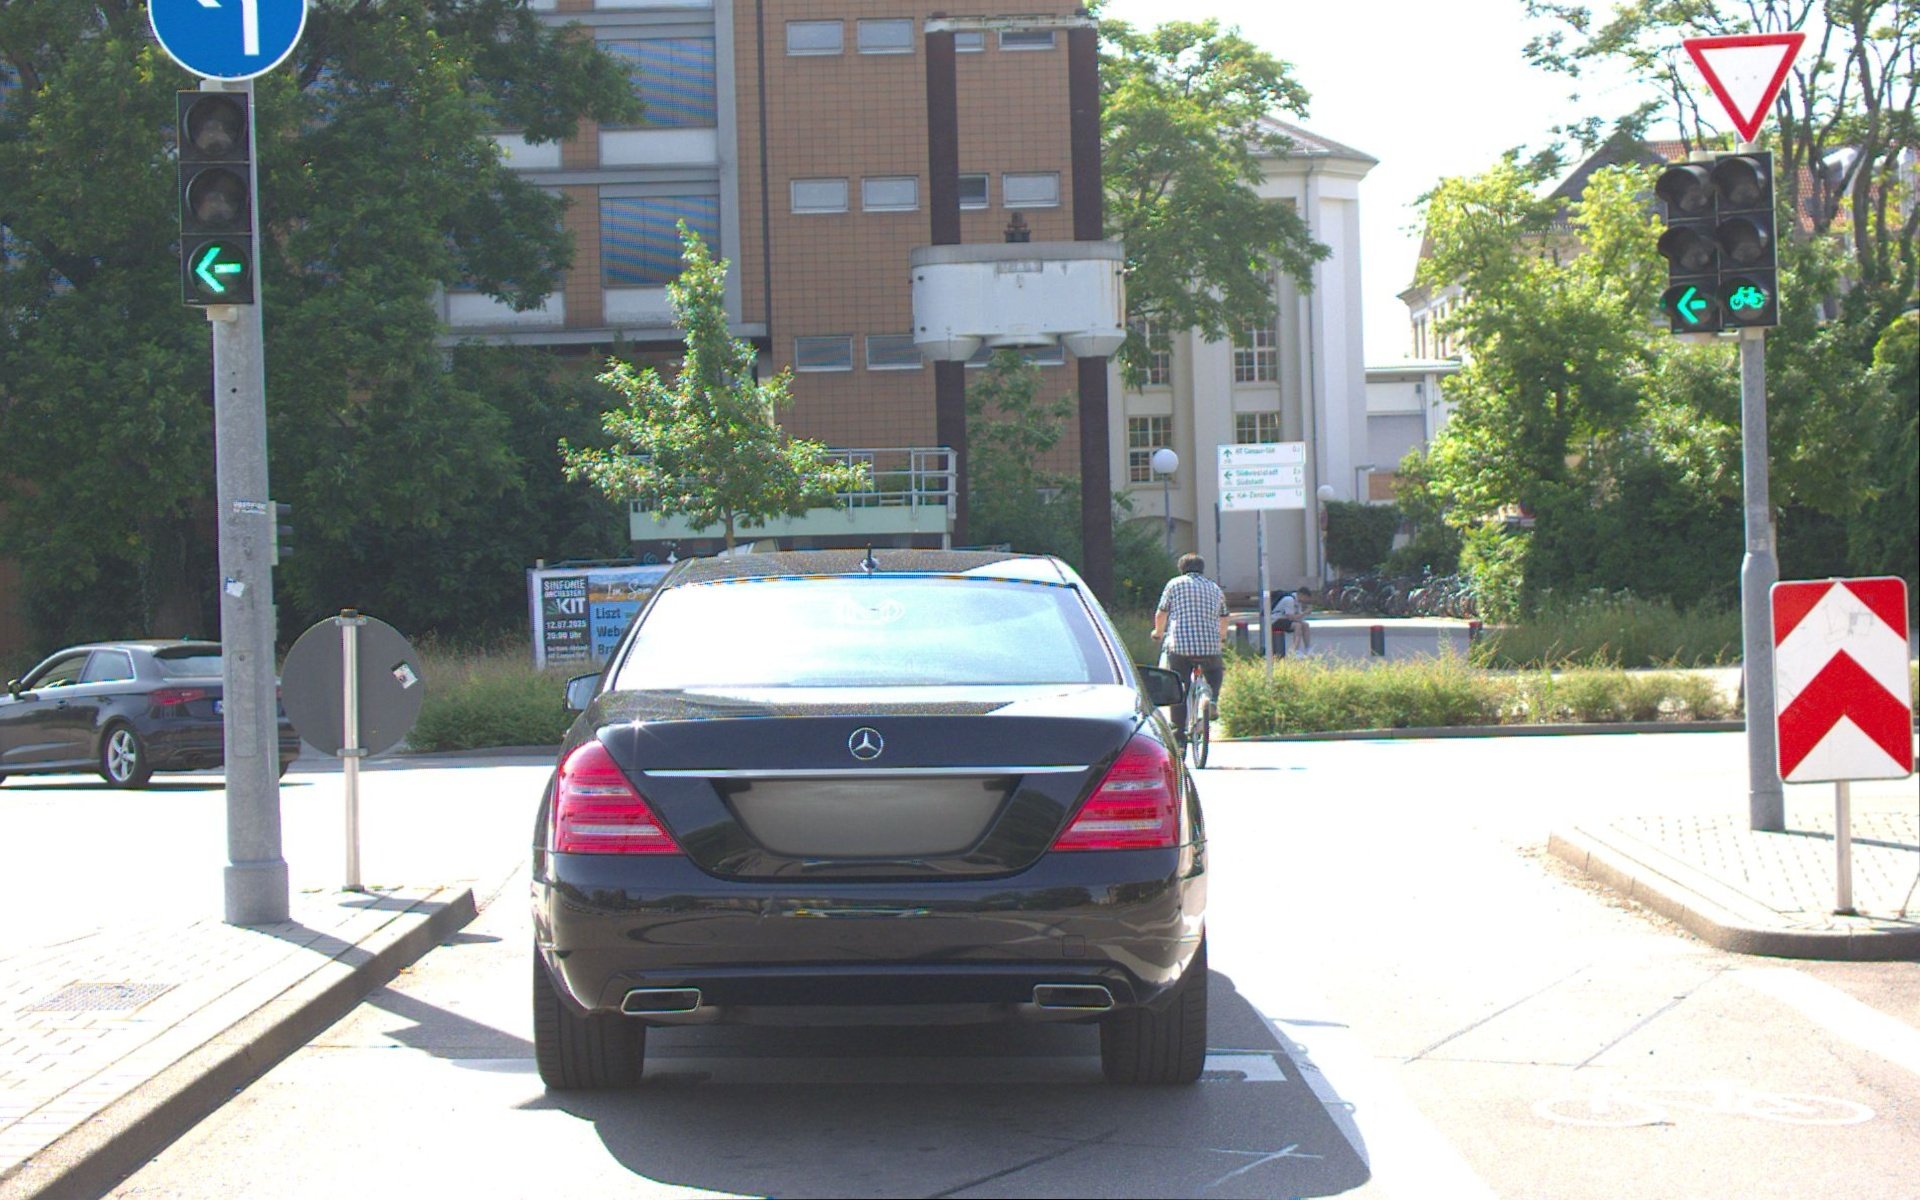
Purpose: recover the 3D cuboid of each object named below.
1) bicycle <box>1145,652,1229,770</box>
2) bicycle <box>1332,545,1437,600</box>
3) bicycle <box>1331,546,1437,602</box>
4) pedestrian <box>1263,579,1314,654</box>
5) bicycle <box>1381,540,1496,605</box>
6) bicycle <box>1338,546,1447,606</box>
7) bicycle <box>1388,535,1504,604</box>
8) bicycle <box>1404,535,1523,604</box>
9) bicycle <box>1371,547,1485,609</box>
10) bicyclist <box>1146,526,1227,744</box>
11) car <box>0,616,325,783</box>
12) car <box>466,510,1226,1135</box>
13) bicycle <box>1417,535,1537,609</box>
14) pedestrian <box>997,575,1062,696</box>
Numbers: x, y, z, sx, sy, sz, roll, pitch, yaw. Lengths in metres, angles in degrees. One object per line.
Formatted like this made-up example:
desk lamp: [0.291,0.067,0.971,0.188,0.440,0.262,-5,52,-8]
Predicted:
bicycle: [1.954,0.946,29.810,0.692,0.943,1.958,1,0,3]
bicycle: [12.119,-0.782,98.155,2.823,1.475,0.842,-2,1,-1]
bicycle: [11.910,-0.733,96.641,2.823,1.495,0.842,-2,1,-1]
pedestrian: [5.349,0.269,55.962,0.793,1.209,0.757,1,0,6]
bicycle: [12.443,-0.726,89.410,2.823,1.581,0.842,-2,1,-1]
bicycle: [11.872,-0.655,94.445,2.823,1.553,0.842,-2,1,-1]
bicycle: [12.465,-0.783,88.214,2.823,1.653,0.842,-2,2,-1]
bicycle: [12.773,-0.780,87.290,2.823,1.643,0.842,-2,1,-1]
bicycle: [12.326,-0.572,90.546,2.823,1.532,0.842,-2,1,-1]
bicyclist: [1.964,0.297,29.871,0.686,1.872,0.859,0,0,3]
car: [-8.120,0.972,33.394,3.997,1.505,1.795,-2,-1,43]
car: [-0.258,0.532,10.796,1.858,1.525,4.713,0,0,1]
bicycle: [12.908,-0.696,85.884,2.823,1.738,0.842,-2,1,-1]
pedestrian: [0.922,0.468,45.762,0.811,1.574,0.692,-2,0,2]
